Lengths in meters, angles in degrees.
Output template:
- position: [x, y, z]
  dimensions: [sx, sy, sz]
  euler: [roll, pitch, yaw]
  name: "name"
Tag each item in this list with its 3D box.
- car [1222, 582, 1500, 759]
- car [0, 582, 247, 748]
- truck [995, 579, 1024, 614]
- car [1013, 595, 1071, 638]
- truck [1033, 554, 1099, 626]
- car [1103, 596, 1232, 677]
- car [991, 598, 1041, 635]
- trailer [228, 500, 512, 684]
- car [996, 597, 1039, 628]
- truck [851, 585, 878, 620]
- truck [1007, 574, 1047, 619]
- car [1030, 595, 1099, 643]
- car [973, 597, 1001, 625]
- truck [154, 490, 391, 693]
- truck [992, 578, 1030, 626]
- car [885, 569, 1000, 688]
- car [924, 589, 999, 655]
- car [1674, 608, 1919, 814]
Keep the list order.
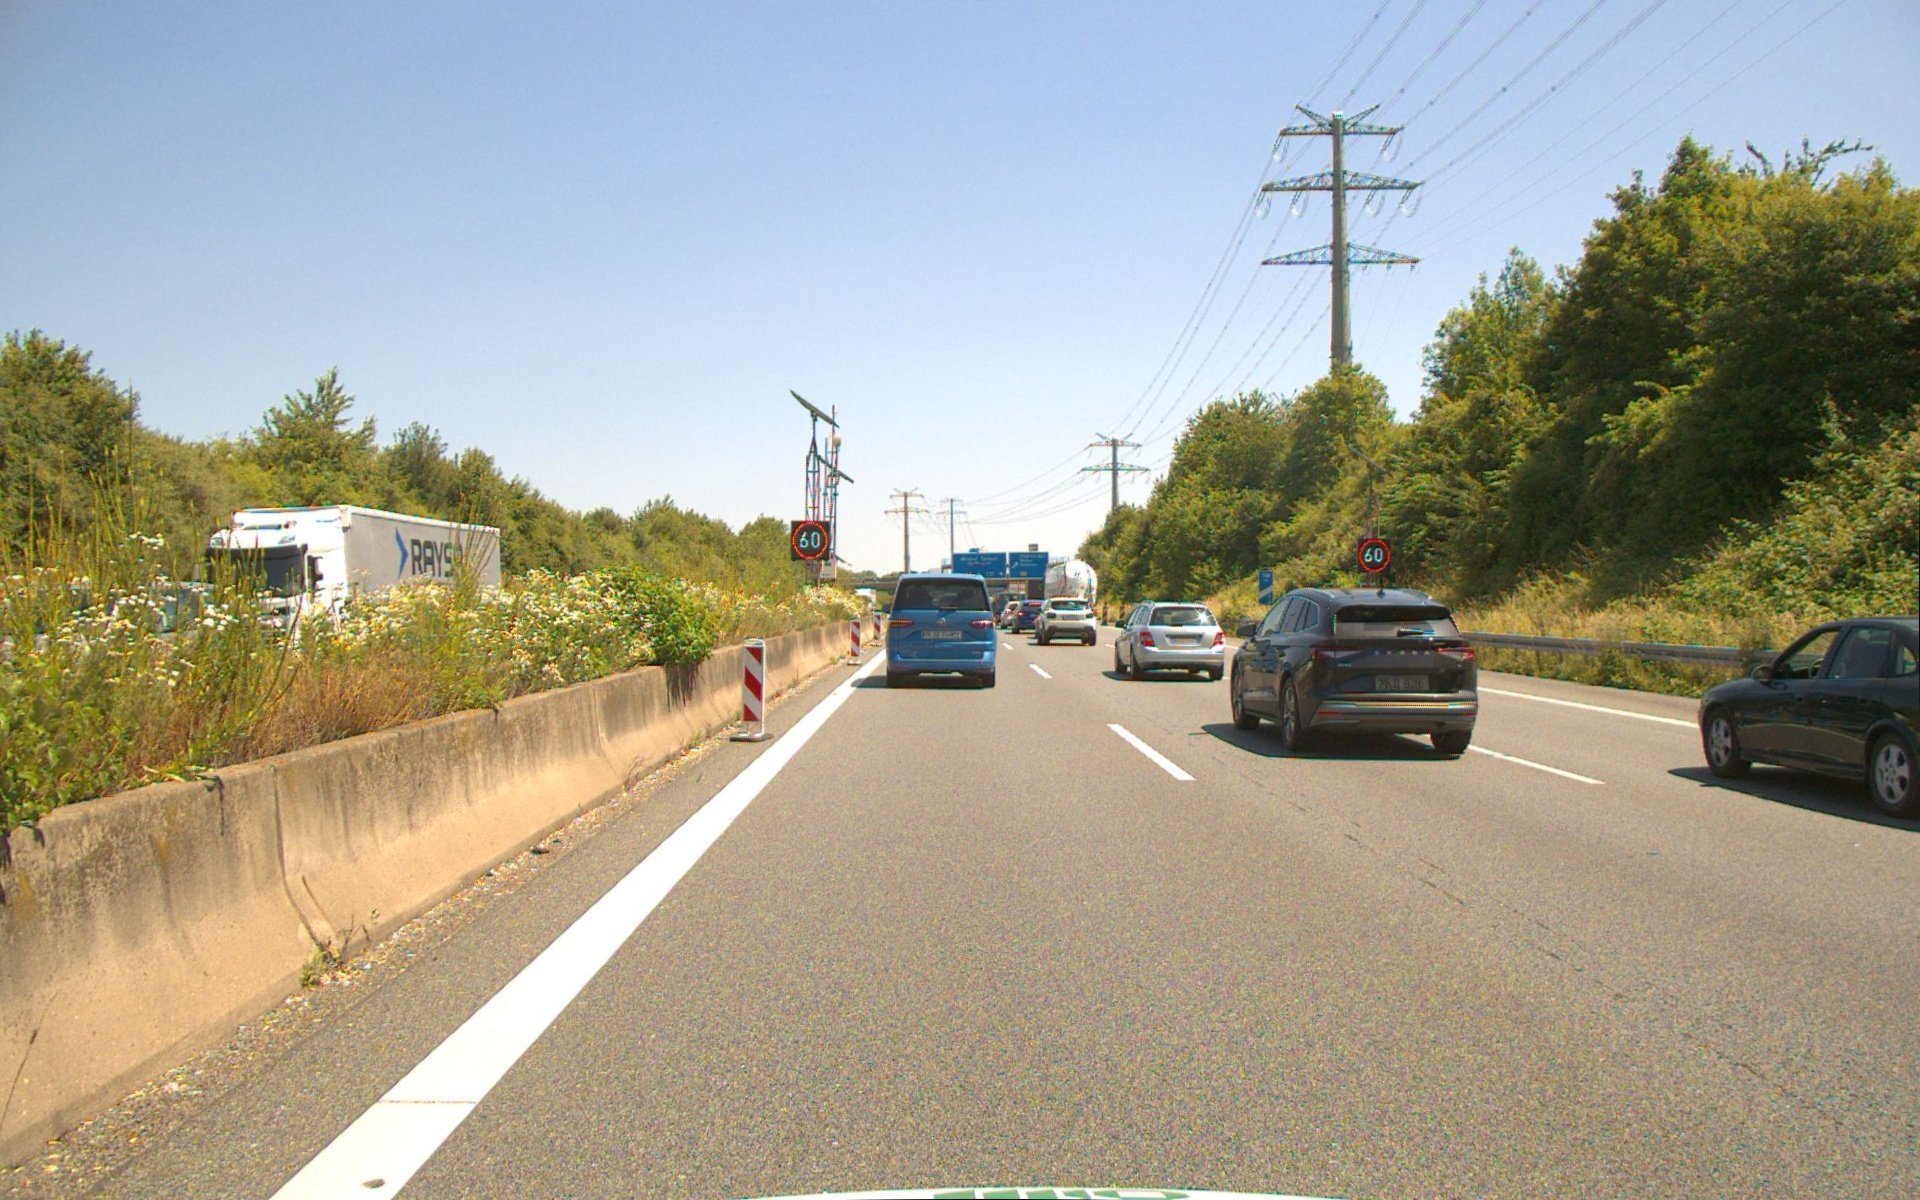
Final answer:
- position: [4.111, 0.651, 17.708]
  dimensions: [1.791, 1.642, 4.429]
  euler: [1, 0, -2]
  name: "car"
- position: [-11.453, 0.809, 22.084]
  dimensions: [1.901, 1.921, 4.428]
  euler: [-4, 0, -1]
  name: "car"
- position: [6.366, -0.436, 215.069]
  dimensions: [2.878, 4.366, 12.547]
  euler: [1, 0, -2]
  name: "truck"
- position: [3.198, 0.630, 65.503]
  dimensions: [1.870, 1.597, 4.381]
  euler: [1, 0, -3]
  name: "car"
- position: [6.521, -0.569, 104.404]
  dimensions: [2.591, 4.143, 16.435]
  euler: [1, 0, -2]
  name: "truck"
- position: [3.981, 0.669, 32.426]
  dimensions: [1.784, 1.462, 4.381]
  euler: [1, 0, -3]
  name: "car"
- position: [2.452, 0.715, 73.222]
  dimensions: [1.870, 1.542, 4.381]
  euler: [1, 0, -3]
  name: "car"
- position: [-16.023, -0.201, 46.610]
  dimensions: [2.956, 4.239, 14.017]
  euler: [-3, 0, -1]
  name: "trailer"
- position: [2.959, 0.646, 86.014]
  dimensions: [1.870, 1.542, 4.381]
  euler: [1, 0, -3]
  name: "car"
- position: [-11.505, 0.277, 199.078]
  dimensions: [2.707, 3.956, 9.027]
  euler: [-3, 0, -1]
  name: "truck"
- position: [5.710, -0.296, 142.964]
  dimensions: [2.591, 3.600, 12.547]
  euler: [1, 0, -2]
  name: "truck"
- position: [3.432, 0.611, 55.085]
  dimensions: [1.870, 1.534, 3.919]
  euler: [1, 0, -3]
  name: "car"
- position: [2.032, 0.807, 125.390]
  dimensions: [1.953, 2.049, 3.999]
  euler: [1, 0, -2]
  name: "car"
- position: [-15.906, -0.197, 38.764]
  dimensions: [2.956, 4.239, 5.804]
  euler: [-3, 0, -1]
  name: "truck"
- position: [3.063, 0.114, 100.324]
  dimensions: [1.953, 2.771, 5.678]
  euler: [1, 0, -2]
  name: "truck"
- position: [-0.378, 0.459, 29.230]
  dimensions: [1.833, 1.912, 4.381]
  euler: [1, 0, -3]
  name: "car"
- position: [-0.004, 0.553, 44.257]
  dimensions: [1.870, 1.659, 4.382]
  euler: [0, 0, -2]
  name: "car"
- position: [7.434, 0.795, 12.911]
  dimensions: [1.700, 1.402, 4.300]
  euler: [1, 0, -3]
  name: "car"
